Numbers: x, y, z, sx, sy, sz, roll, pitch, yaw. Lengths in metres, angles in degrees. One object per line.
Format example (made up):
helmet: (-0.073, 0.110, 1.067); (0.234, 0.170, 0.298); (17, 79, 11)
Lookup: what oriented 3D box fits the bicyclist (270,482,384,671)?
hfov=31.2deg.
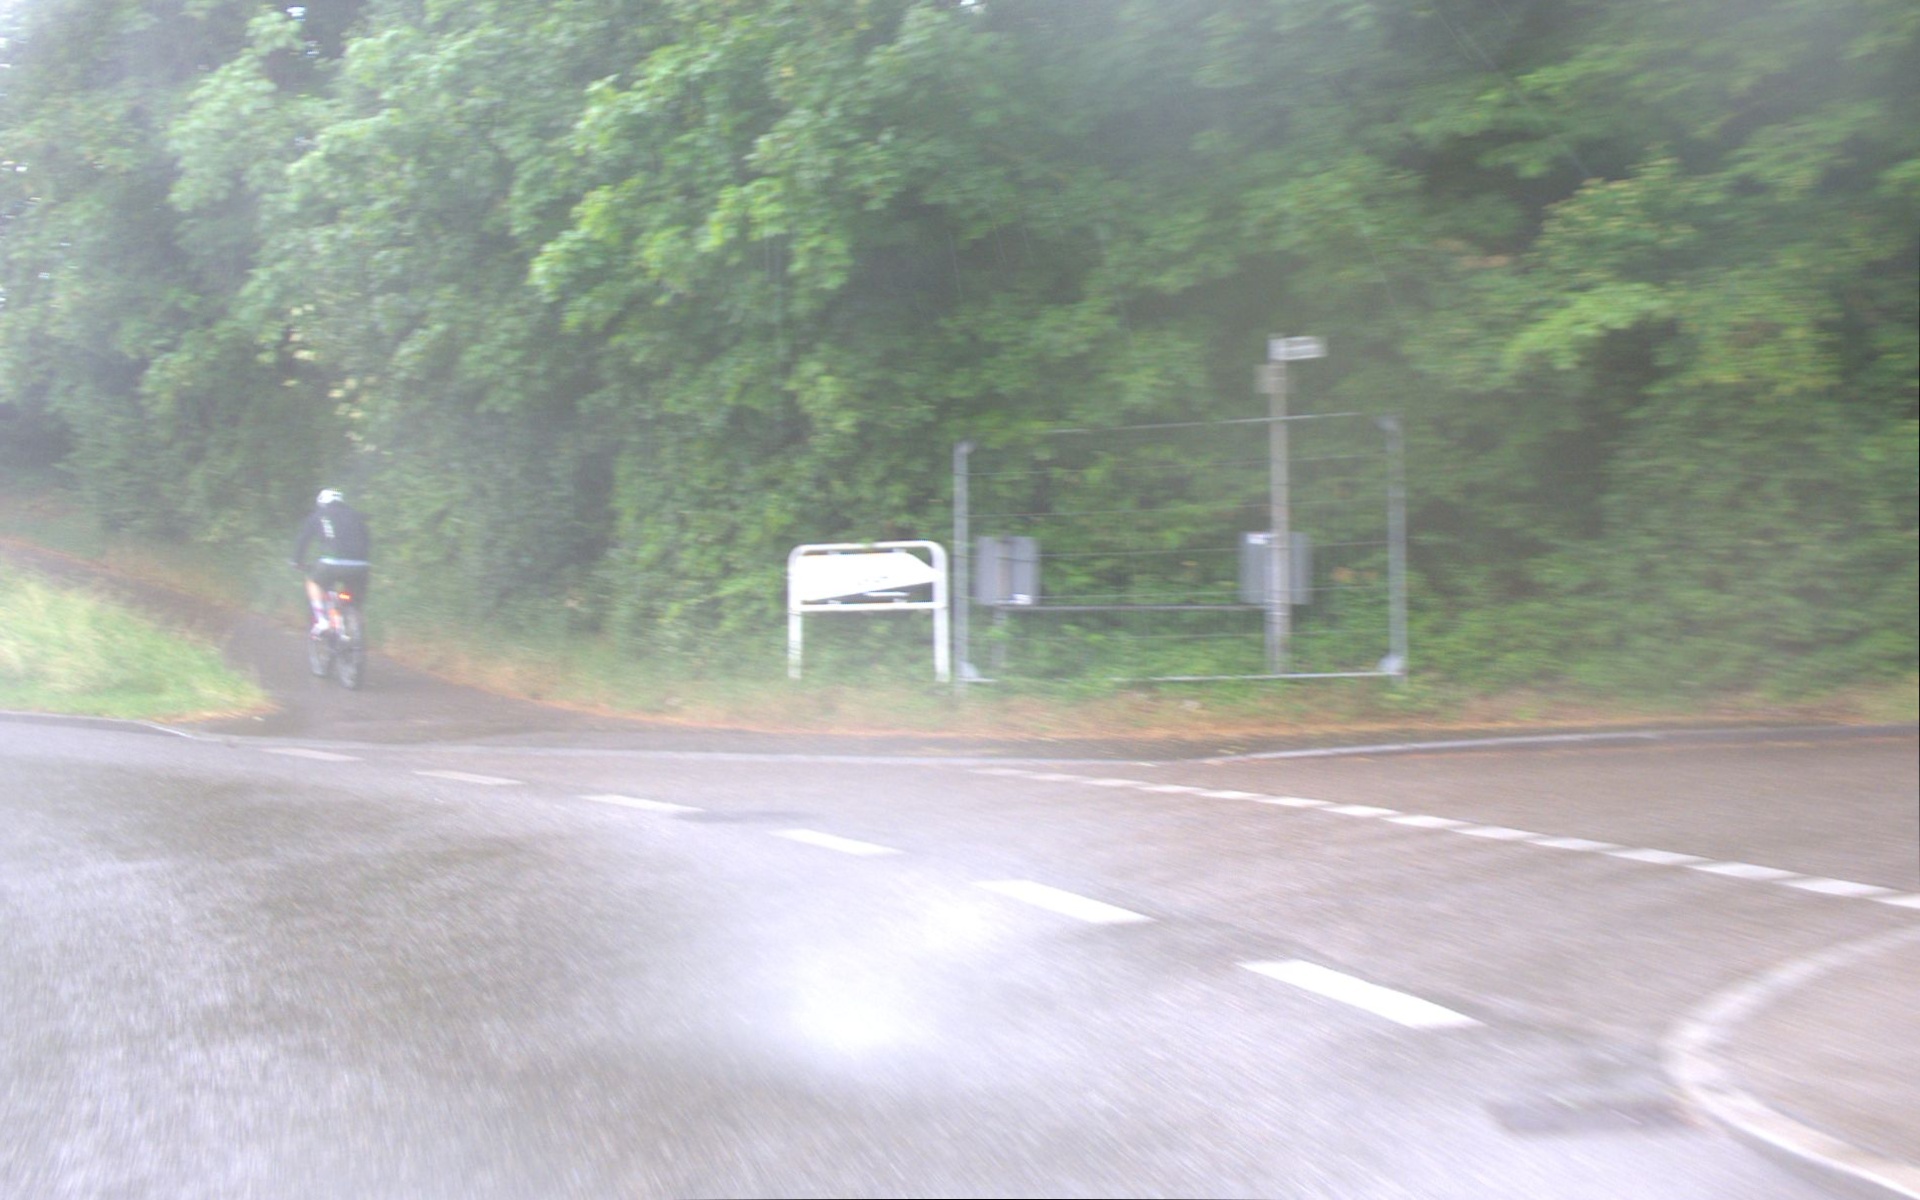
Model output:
bicyclist: (-5.671, -0.218, 30.773); (0.720, 1.609, 0.906); (1, 5, -28)

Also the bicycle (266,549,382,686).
bicycle: (-5.694, 0.142, 30.732); (0.527, 1.081, 1.621); (0, 5, -28)
